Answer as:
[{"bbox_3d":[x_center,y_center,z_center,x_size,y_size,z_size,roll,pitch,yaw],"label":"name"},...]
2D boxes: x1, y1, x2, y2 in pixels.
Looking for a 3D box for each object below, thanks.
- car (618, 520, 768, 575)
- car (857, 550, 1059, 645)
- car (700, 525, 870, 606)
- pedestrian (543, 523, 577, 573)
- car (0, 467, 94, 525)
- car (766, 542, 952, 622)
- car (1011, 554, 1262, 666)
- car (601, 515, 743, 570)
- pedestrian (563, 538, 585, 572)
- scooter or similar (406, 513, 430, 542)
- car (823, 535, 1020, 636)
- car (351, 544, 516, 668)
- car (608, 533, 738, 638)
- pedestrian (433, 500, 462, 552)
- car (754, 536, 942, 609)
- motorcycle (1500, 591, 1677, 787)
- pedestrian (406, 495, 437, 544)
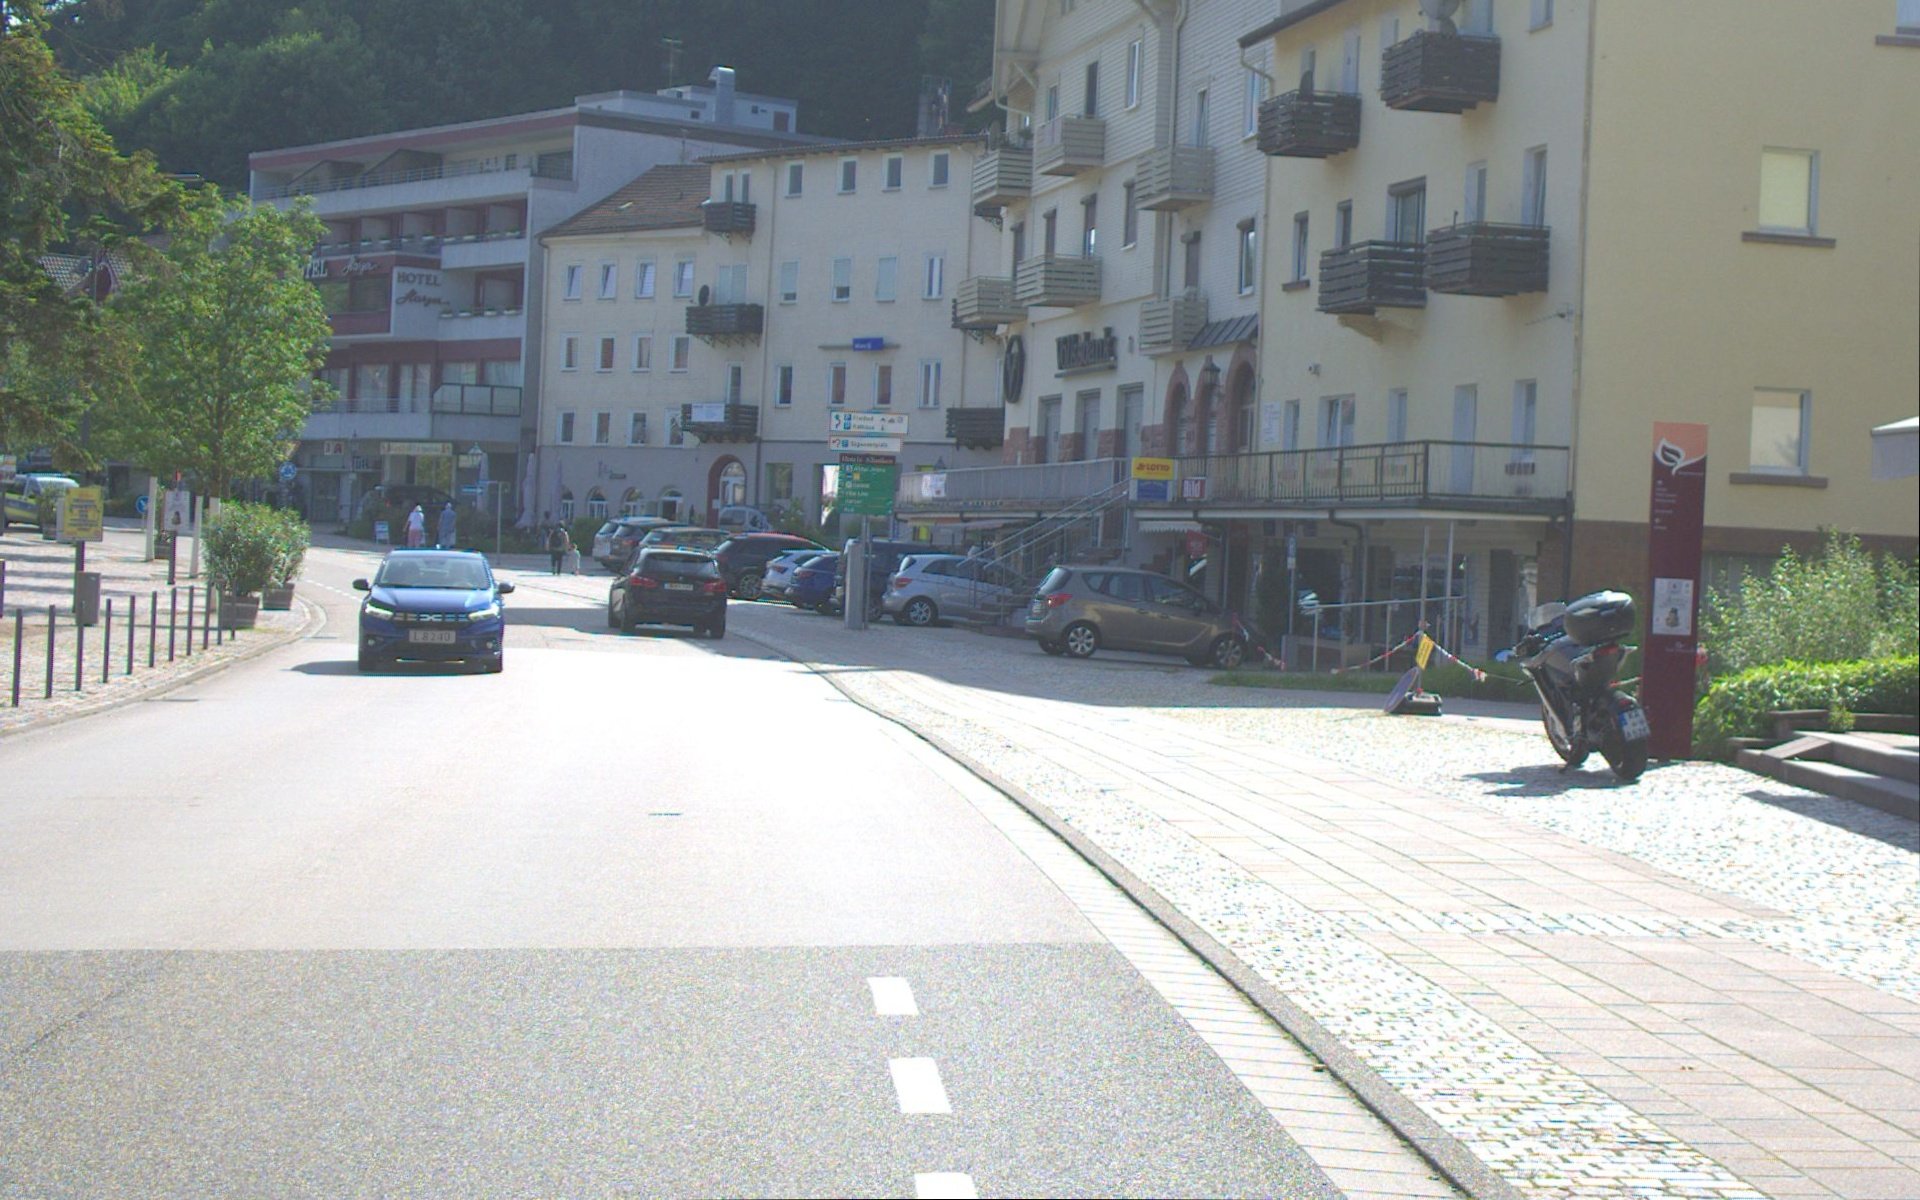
[{"bbox_3d":[-7.845,-1.551,101.239,4.009,1.511,1.773,-1,4,-30],"label":"car"},{"bbox_3d":[-0.055,-0.060,72.801,3.908,1.583,1.775,5,1,-10],"label":"car"},{"bbox_3d":[-4.559,-0.909,89.230,4.083,1.660,1.773,6,1,-10],"label":"car"},{"bbox_3d":[-11.731,-1.524,100.816,0.735,1.437,0.633,0,2,-37],"label":"pedestrian"},{"bbox_3d":[-32.163,-3.645,119.918,1.855,1.946,5.016,1,1,-38],"label":"car"},{"bbox_3d":[-2.306,-0.414,78.112,3.908,1.456,1.736,5,1,-10],"label":"car"},{"bbox_3d":[3.019,0.161,59.209,3.858,1.549,1.761,5,1,-13],"label":"car"},{"bbox_3d":[-8.730,-1.755,104.289,3.861,1.544,1.773,-1,4,-30],"label":"car"},{"bbox_3d":[-11.362,-1.322,101.159,0.417,0.998,0.531,0,2,-37],"label":"pedestrian"},{"bbox_3d":[-18.299,-2.445,116.137,0.596,0.947,0.474,3,1,-33],"label":"scooter or similar"},{"bbox_3d":[-0.862,-0.323,75.483,3.908,1.798,1.858,6,0,-10],"label":"car"},{"bbox_3d":[-6.564,0.041,43.180,1.741,1.457,4.188,1,1,-5],"label":"car"},{"bbox_3d":[-5.107,-0.282,60.783,1.726,1.569,3.754,4,2,-12],"label":"car"},{"bbox_3d":[-17.390,-2.504,116.653,0.669,1.722,0.707,3,1,-33],"label":"pedestrian"},{"bbox_3d":[-2.774,-0.671,84.580,4.355,1.456,1.773,4,-1,-8],"label":"car"},{"bbox_3d":[4.427,0.598,24.376,0.697,1.292,2.212,0,1,-4],"label":"motorcycle"},{"bbox_3d":[-18.178,-2.707,115.985,0.757,1.588,0.628,3,1,-33],"label":"pedestrian"}]
